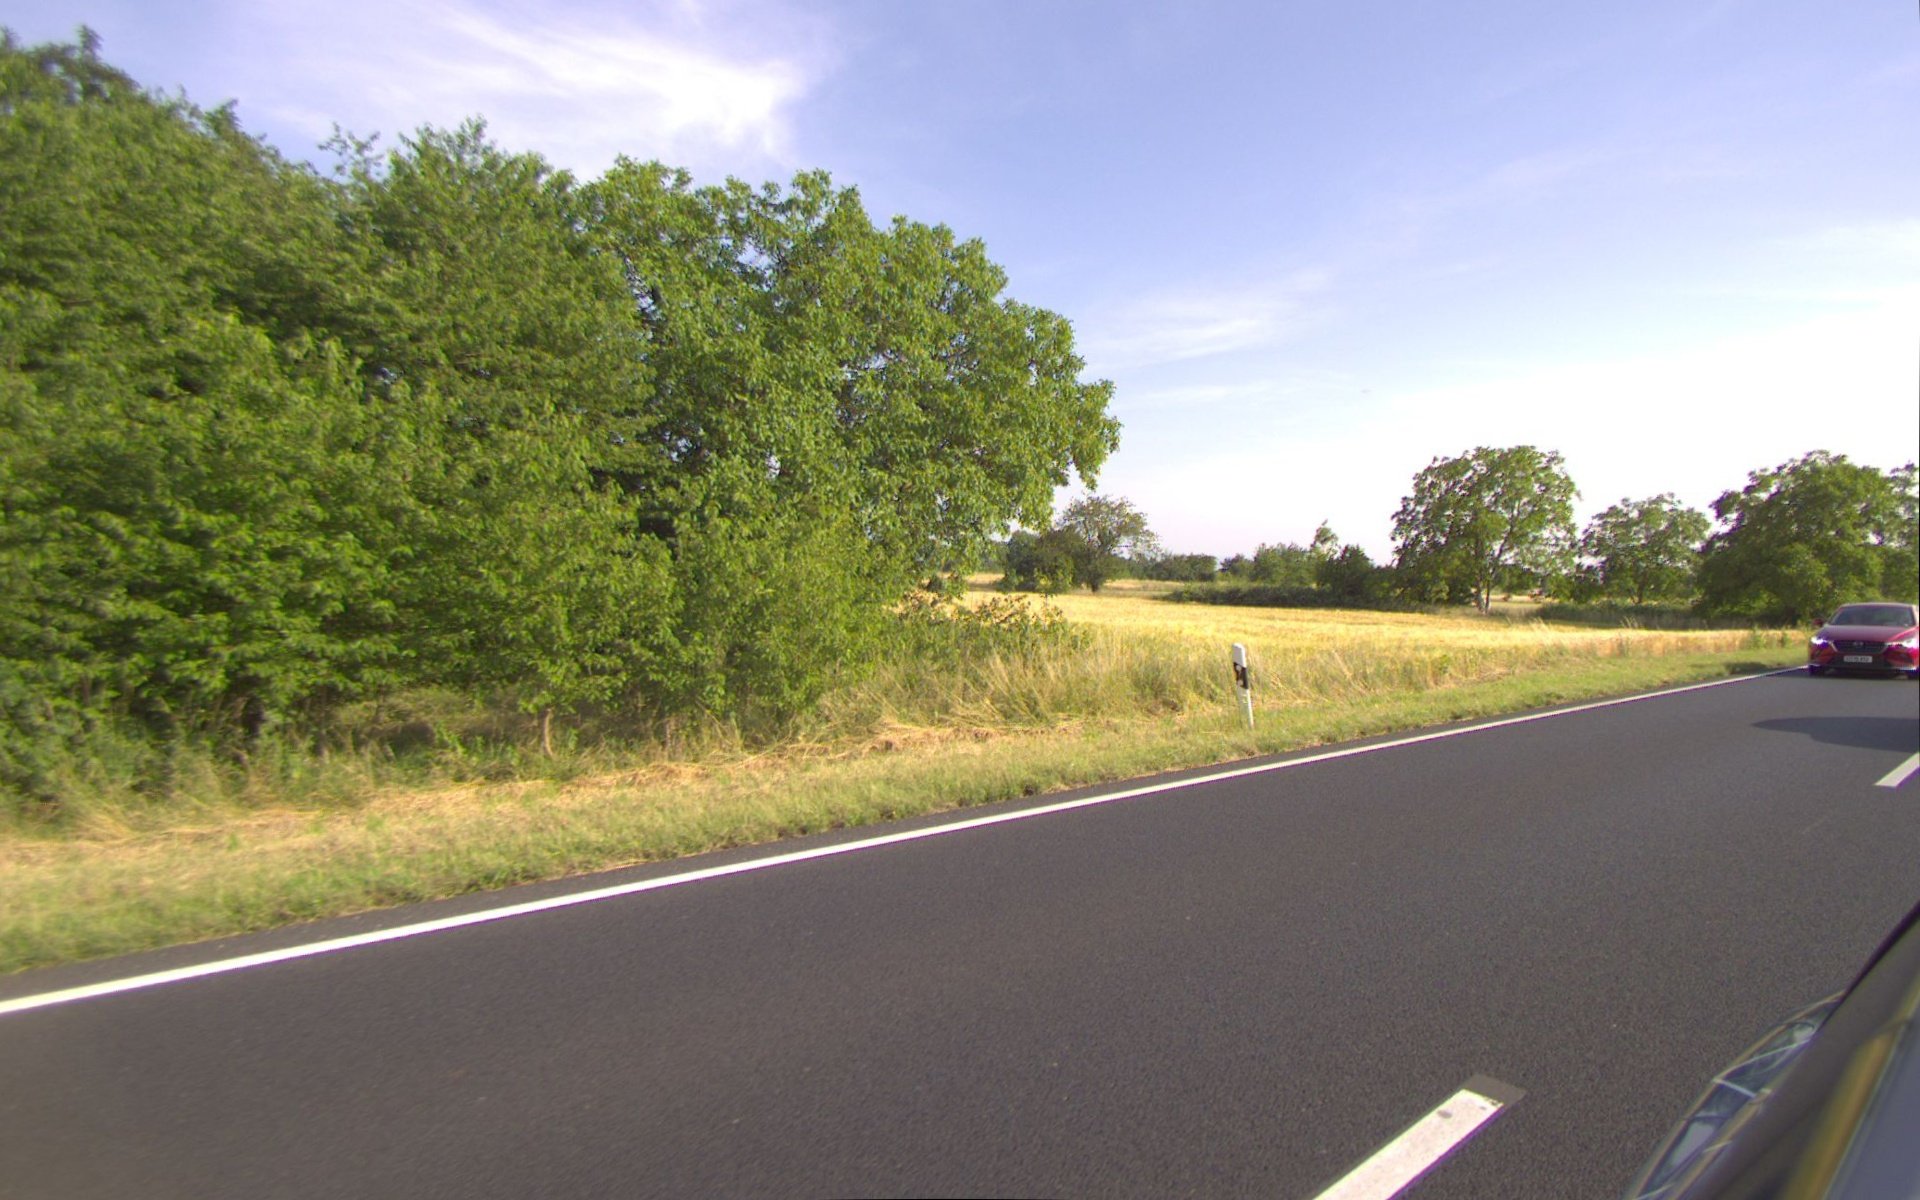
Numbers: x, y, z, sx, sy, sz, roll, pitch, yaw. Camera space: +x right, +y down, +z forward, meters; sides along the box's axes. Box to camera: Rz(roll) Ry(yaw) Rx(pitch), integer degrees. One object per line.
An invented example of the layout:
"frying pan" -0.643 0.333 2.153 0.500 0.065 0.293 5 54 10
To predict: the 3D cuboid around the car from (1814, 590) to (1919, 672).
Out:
"car" 19.431 0.572 21.215 4.423 1.524 1.707 -1 1 -41
